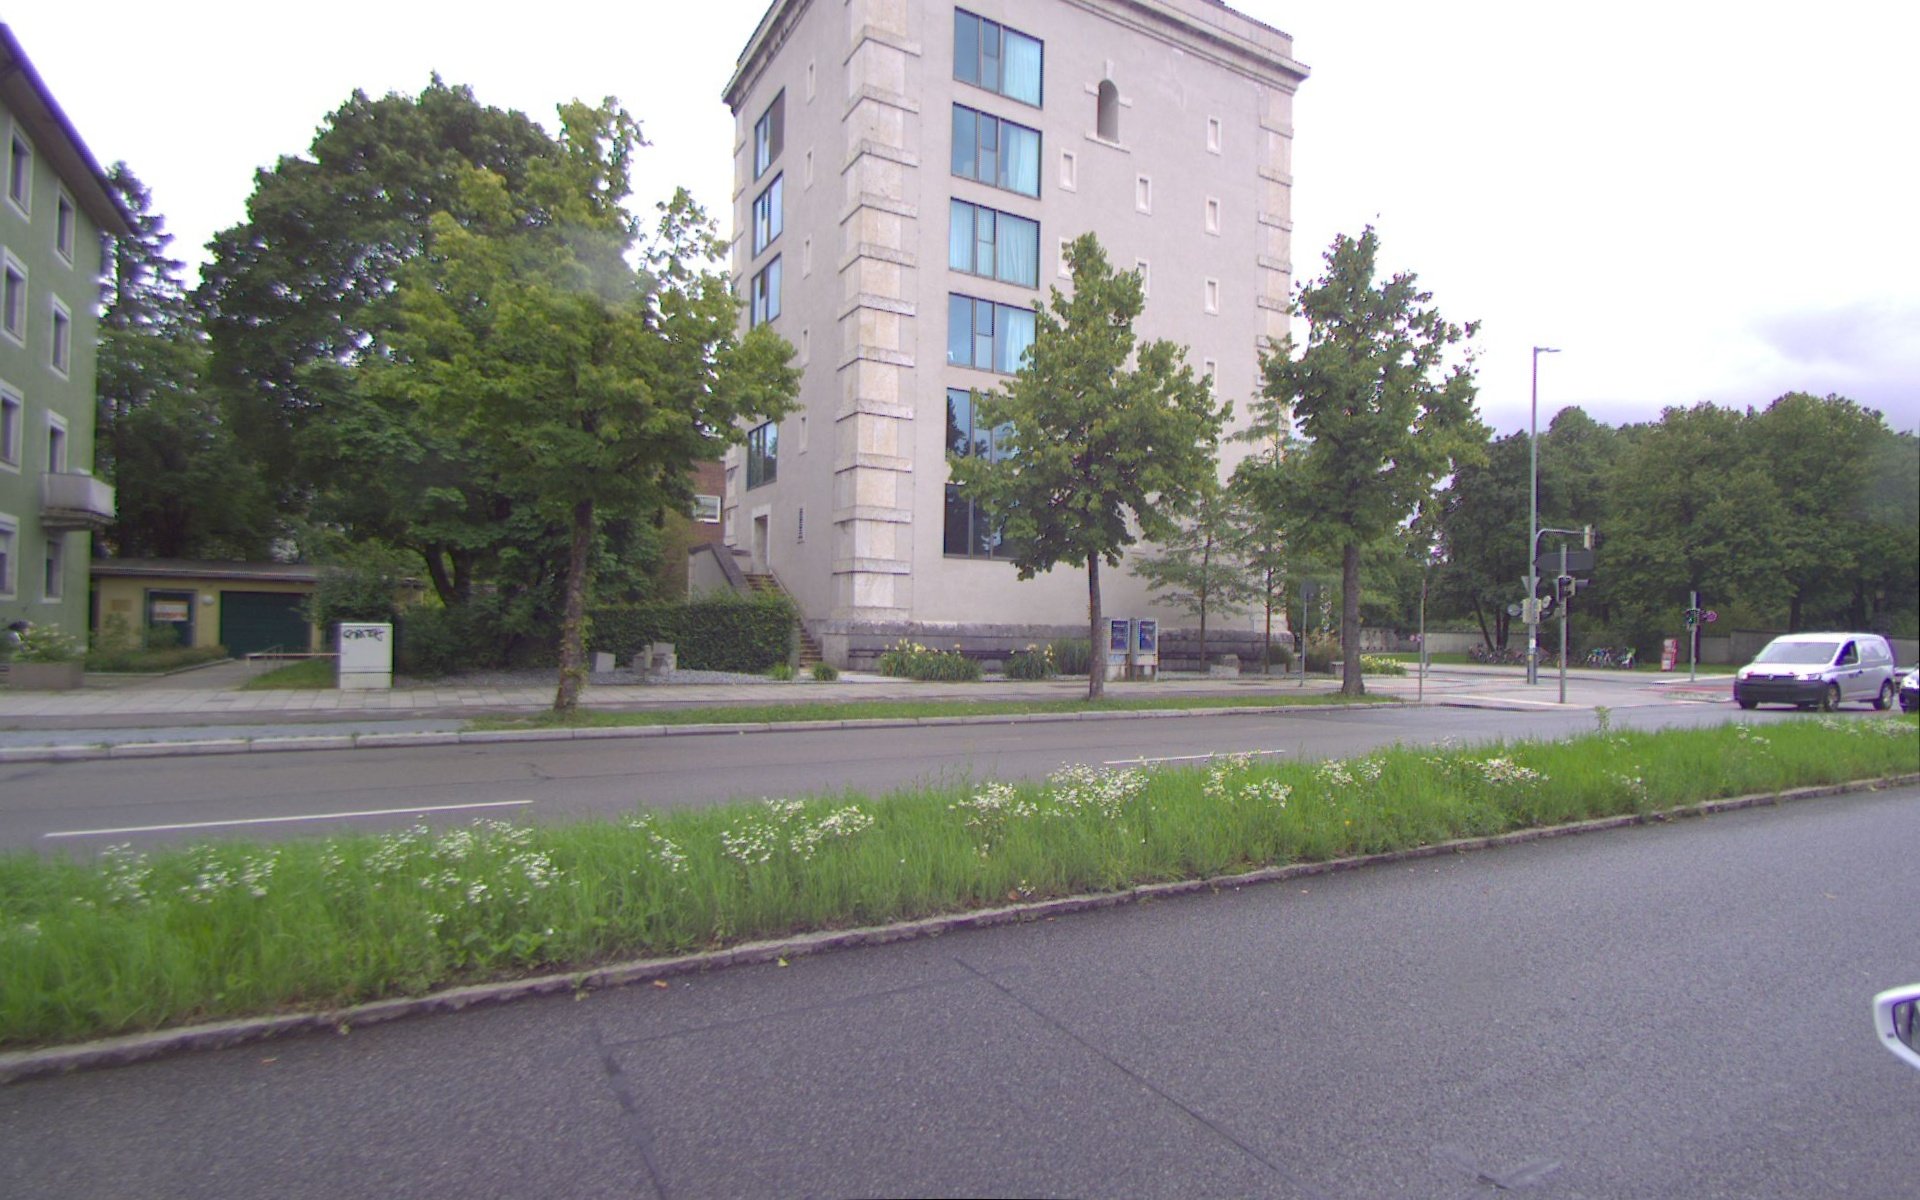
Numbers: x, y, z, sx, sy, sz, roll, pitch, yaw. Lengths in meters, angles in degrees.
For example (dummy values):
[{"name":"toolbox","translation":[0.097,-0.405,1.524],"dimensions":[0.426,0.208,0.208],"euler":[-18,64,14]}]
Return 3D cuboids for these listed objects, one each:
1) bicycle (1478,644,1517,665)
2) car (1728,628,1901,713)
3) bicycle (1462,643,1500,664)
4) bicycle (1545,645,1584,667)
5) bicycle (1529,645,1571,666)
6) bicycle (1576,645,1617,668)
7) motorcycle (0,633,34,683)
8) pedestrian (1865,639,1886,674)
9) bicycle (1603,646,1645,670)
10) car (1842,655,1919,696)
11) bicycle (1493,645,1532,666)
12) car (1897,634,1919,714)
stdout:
[{"name":"bicycle","translation":[31.672,3.210,59.175],"dimensions":[2.467,1.201,0.831],"euler":[2,-1,-30]},{"name":"car","translation":[20.465,1.643,24.026],"dimensions":[4.378,1.835,1.771],"euler":[2,-2,-30]},{"name":"bicycle","translation":[31.099,3.215,59.983],"dimensions":[2.467,1.201,0.831],"euler":[2,-1,-30]},{"name":"bicycle","translation":[33.902,3.142,56.315],"dimensions":[2.467,1.201,0.831],"euler":[2,-1,-30]},{"name":"bicycle","translation":[34.331,3.216,58.400],"dimensions":[2.850,1.201,0.831],"euler":[2,-2,-30]},{"name":"bicycle","translation":[34.182,3.037,53.965],"dimensions":[2.467,1.201,0.831],"euler":[2,-1,-30]},{"name":"motorcycle","translation":[-17.722,1.048,18.260],"dimensions":[1.220,0.894,0.431],"euler":[2,-1,-30]},{"name":"pedestrian","translation":[47.005,2.892,51.565],"dimensions":[0.512,1.763,0.703],"euler":[2,-1,-33]},{"name":"bicycle","translation":[34.948,3.043,52.833],"dimensions":[2.467,1.201,0.831],"euler":[2,-1,-30]},{"name":"car","translation":[35.096,2.728,36.450],"dimensions":[4.276,1.481,1.934],"euler":[0,-3,7]},{"name":"bicycle","translation":[31.986,3.211,58.180],"dimensions":[2.467,1.201,0.831],"euler":[2,-1,-30]},{"name":"car","translation":[21.379,1.549,20.892],"dimensions":[4.242,1.590,1.689],"euler":[2,-2,-31]}]
